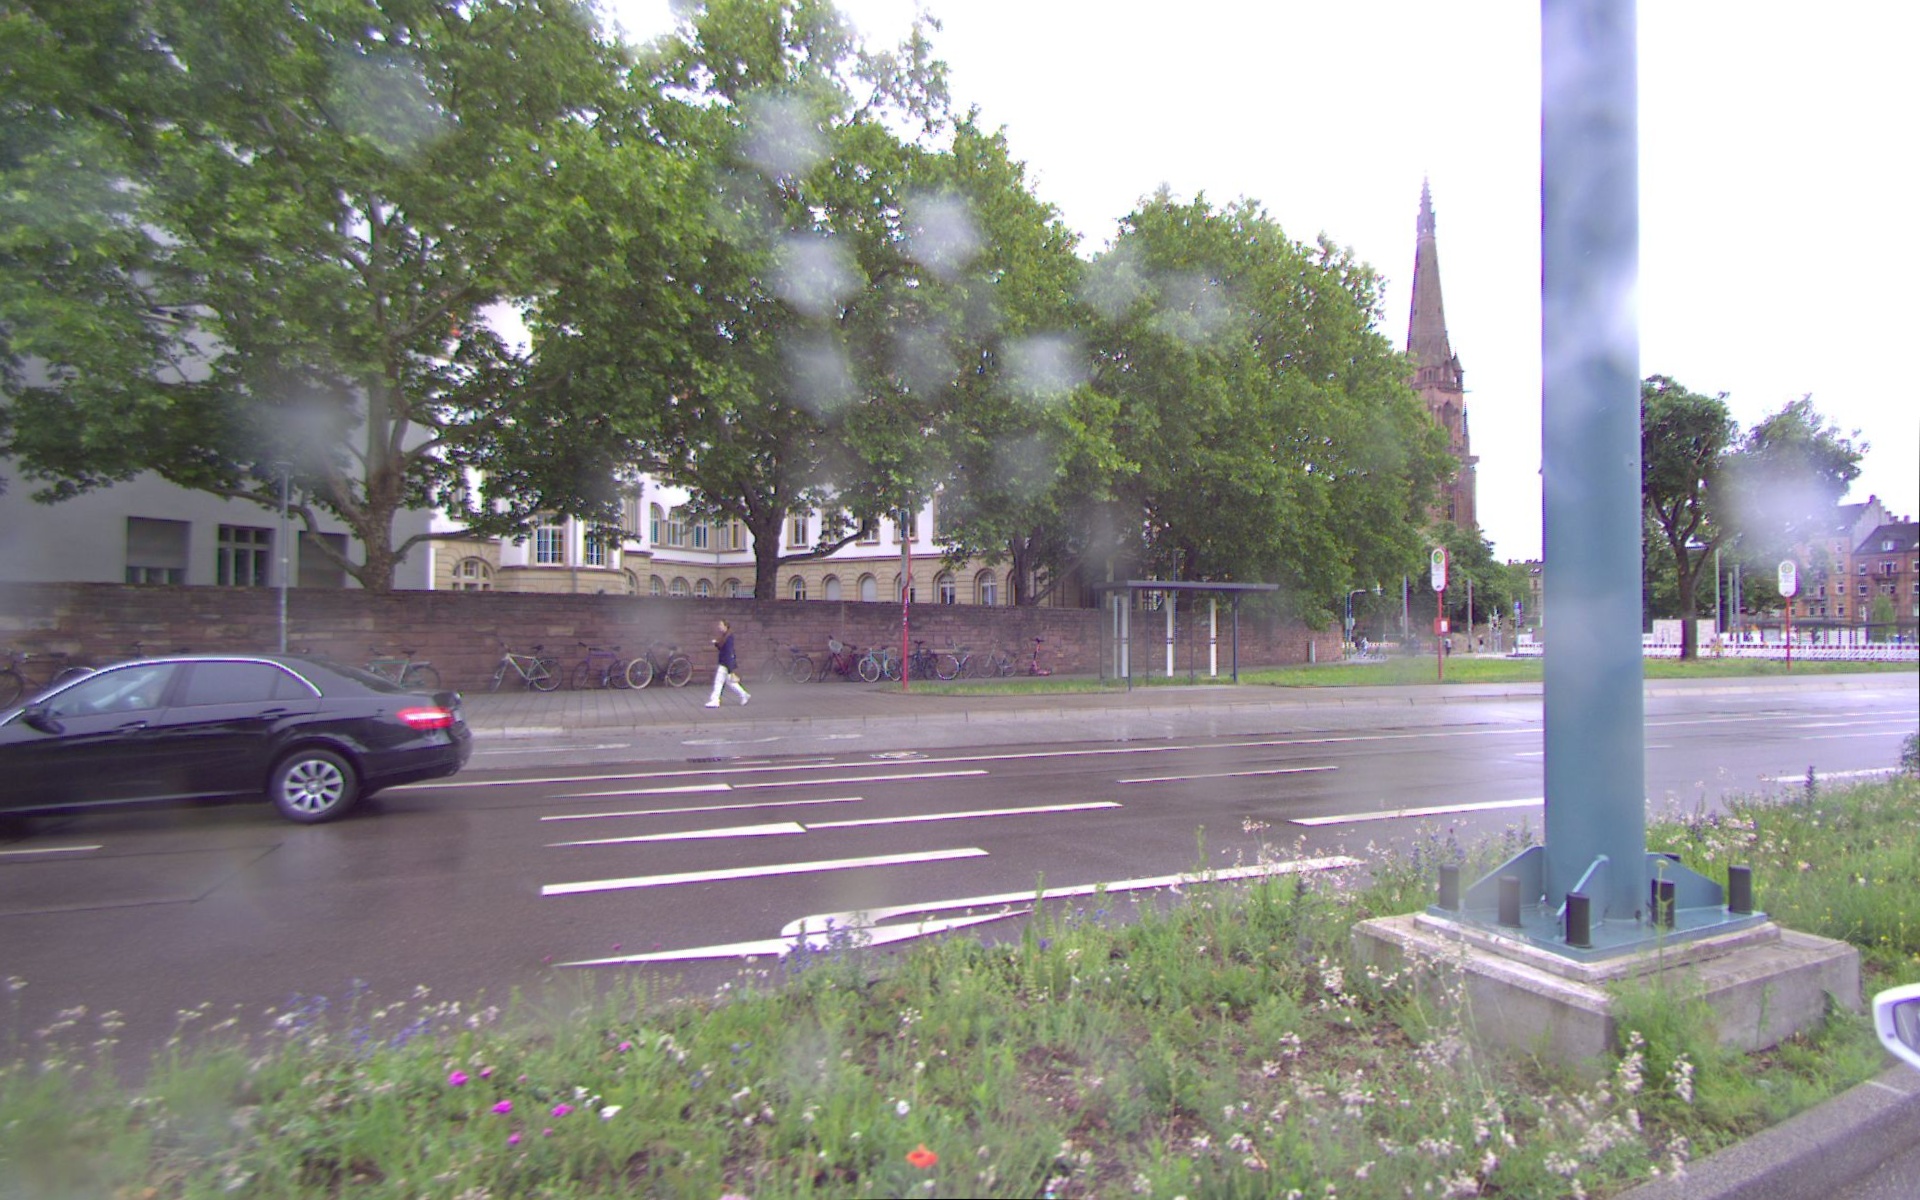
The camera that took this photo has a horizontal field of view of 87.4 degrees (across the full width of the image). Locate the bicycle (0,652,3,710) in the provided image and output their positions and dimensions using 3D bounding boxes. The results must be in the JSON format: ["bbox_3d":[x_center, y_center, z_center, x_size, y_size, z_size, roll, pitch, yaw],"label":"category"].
[{"bbox_3d":[-17.158,1.387,16.687,1.683,0.996,0.727,1,-1,-34],"label":"bicycle"}]

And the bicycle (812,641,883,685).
[{"bbox_3d":[-3.067,1.706,27.549,1.977,1.151,0.568,1,-2,-42],"label":"bicycle"}]

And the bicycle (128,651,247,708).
[{"bbox_3d":[-14.376,1.462,18.743,1.683,0.996,0.727,1,-1,-34],"label":"bicycle"}]

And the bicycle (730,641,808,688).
[{"bbox_3d":[-4.931,1.652,26.036,1.977,1.151,0.568,1,-2,-42],"label":"bicycle"}]

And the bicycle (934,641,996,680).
[{"bbox_3d":[0.171,1.813,30.400,1.974,1.151,0.568,1,-2,-39],"label":"bicycle"}]

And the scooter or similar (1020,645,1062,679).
[{"bbox_3d":[2.654,2.009,32.848,1.350,1.060,0.568,1,-2,-38],"label":"scooter or similar"}]

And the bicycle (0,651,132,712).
[{"bbox_3d":[-15.766,1.416,17.726,1.683,0.996,0.727,1,-1,-34],"label":"bicycle"}]

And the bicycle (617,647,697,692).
[{"bbox_3d":[-7.194,1.628,23.855,1.683,0.996,0.727,1,-1,-34],"label":"bicycle"}]

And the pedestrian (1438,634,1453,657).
[{"bbox_3d":[37.328,3.495,77.189,0.762,1.801,0.723,1,-1,-19],"label":"pedestrian"}]

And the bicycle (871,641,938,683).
[{"bbox_3d":[-1.584,1.766,28.980,1.974,1.151,0.568,1,-2,-39],"label":"bicycle"}]

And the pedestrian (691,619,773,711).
[{"bbox_3d":[-4.417,1.235,19.464,1.382,1.718,0.865,1,-1,-28],"label":"pedestrian"}]

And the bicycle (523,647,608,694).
[{"bbox_3d":[-8.933,1.575,22.742,1.683,0.996,0.727,1,-1,-34],"label":"bicycle"}]

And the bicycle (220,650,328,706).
[{"bbox_3d":[-13.215,1.481,19.410,1.683,0.996,0.727,1,-1,-34],"label":"bicycle"}]

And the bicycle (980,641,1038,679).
[{"bbox_3d":[1.564,1.882,31.910,1.974,1.151,0.568,1,-2,-39],"label":"bicycle"}]

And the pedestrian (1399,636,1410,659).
[{"bbox_3d":[38.011,4.068,85.942,0.594,1.915,0.603,1,-1,-24],"label":"pedestrian"}]

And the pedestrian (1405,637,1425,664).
[{"bbox_3d":[35.085,3.854,77.415,0.984,2.040,1.301,-1,-2,45],"label":"pedestrian"}]

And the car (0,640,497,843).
[{"bbox_3d":[-6.795,1.167,9.039,4.633,1.560,1.806,1,-3,-21],"label":"car"}]

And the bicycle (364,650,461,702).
[{"bbox_3d":[-11.112,1.522,20.398,1.683,0.996,0.727,1,-1,-34],"label":"bicycle"}]

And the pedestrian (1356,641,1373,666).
[{"bbox_3d":[32.920,4.374,81.825,0.941,2.040,0.855,1,-1,-19],"label":"pedestrian"}]

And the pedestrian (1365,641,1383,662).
[{"bbox_3d":[31.309,3.870,75.988,0.921,1.560,1.054,-1,-2,45],"label":"pedestrian"}]
